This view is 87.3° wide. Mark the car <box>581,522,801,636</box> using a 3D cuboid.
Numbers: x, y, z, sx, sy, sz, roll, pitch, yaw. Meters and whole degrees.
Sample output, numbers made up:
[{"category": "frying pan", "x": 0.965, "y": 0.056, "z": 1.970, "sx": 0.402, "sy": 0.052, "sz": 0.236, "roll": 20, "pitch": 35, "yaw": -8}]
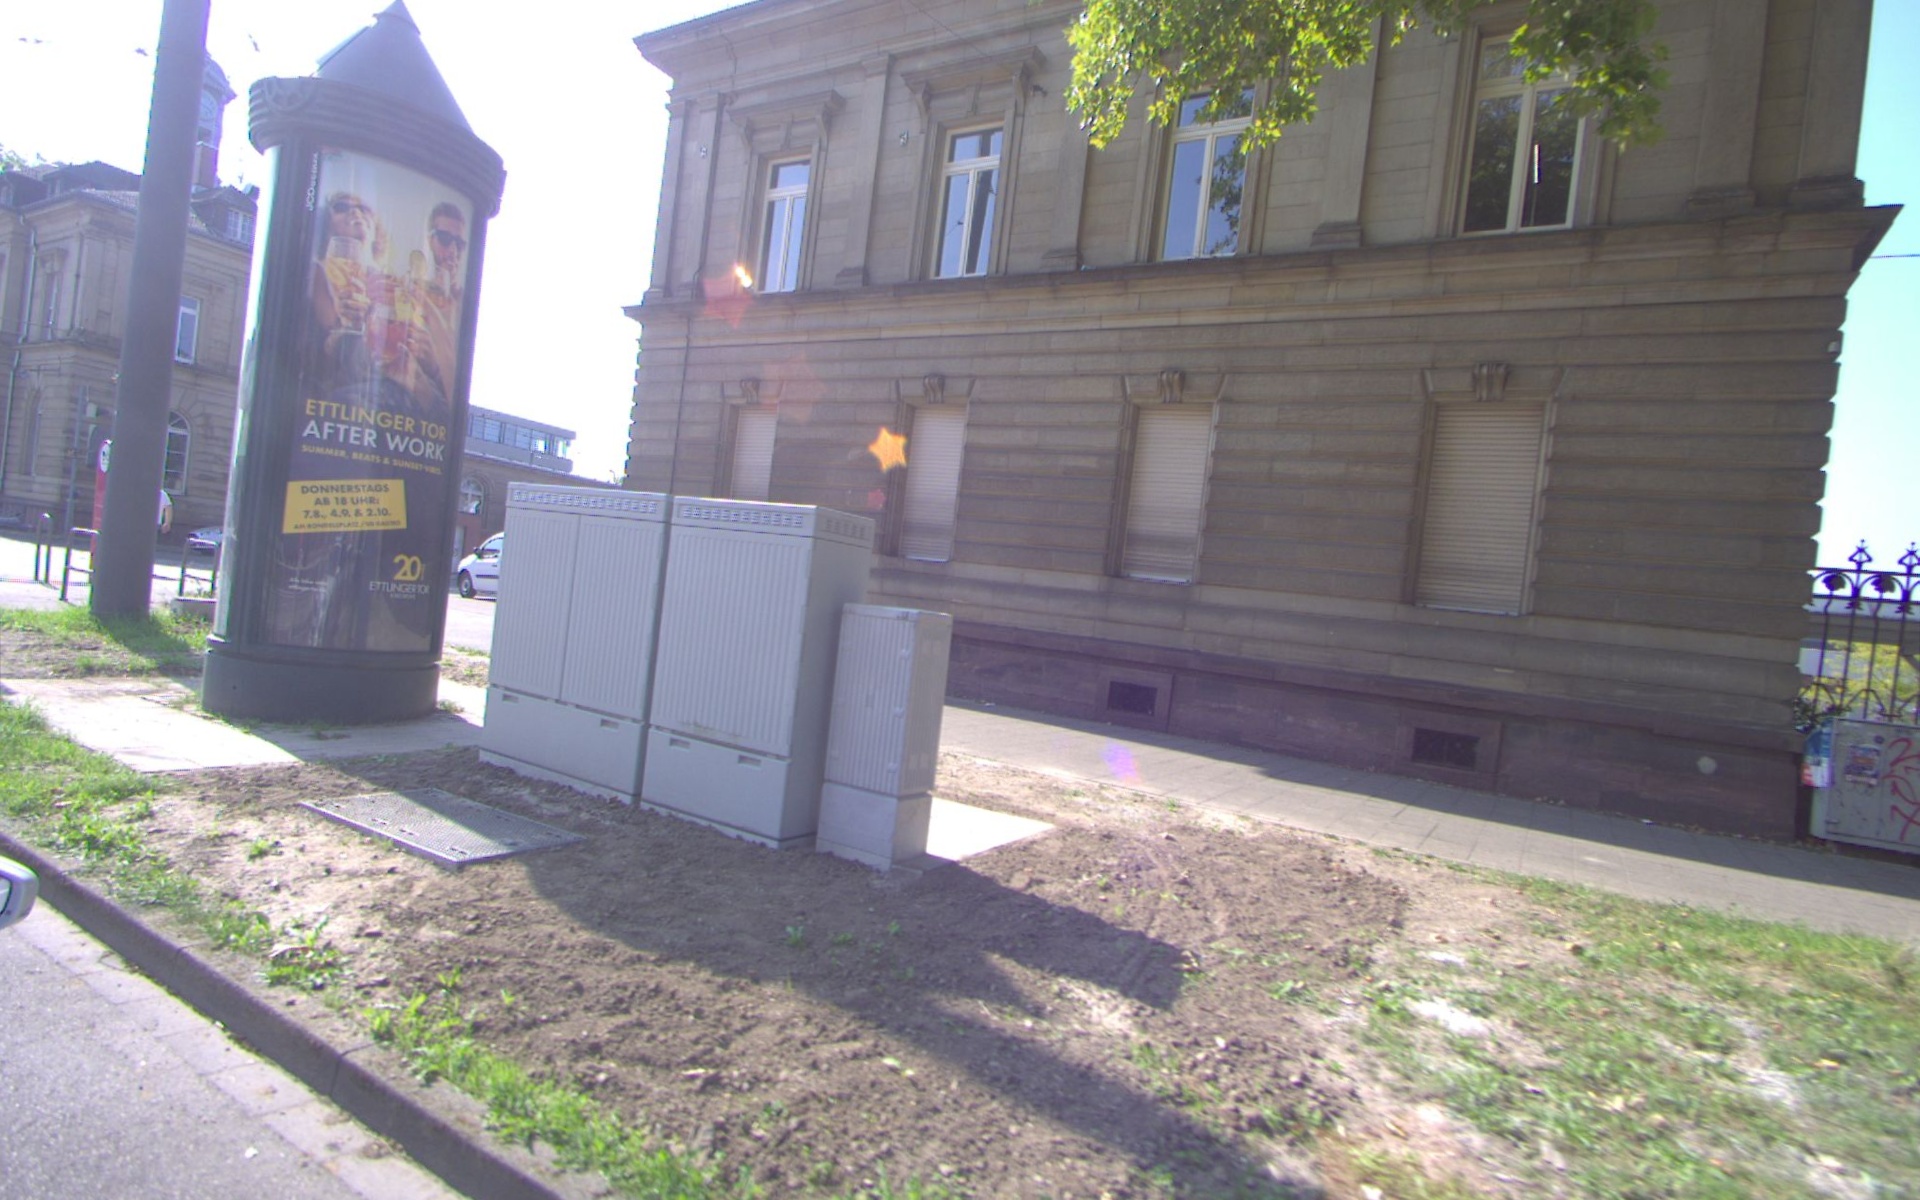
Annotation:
[{"category": "car", "x": -7.363, "y": -0.581, "z": 27.484, "sx": 5.390, "sy": 2.453, "sz": 2.263, "roll": 7, "pitch": 0, "yaw": 25}]

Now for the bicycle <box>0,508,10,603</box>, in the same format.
[{"category": "bicycle", "x": -11.129, "y": -0.556, "z": 11.093, "sx": 1.545, "sy": 1.019, "sz": 0.538, "roll": 7, "pitch": 2, "yaw": 32}]

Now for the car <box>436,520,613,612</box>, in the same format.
[{"category": "car", "x": -10.815, "y": -0.851, "z": 24.914, "sx": 4.155, "sy": 1.806, "sz": 1.905, "roll": 6, "pitch": 1, "yaw": 32}]

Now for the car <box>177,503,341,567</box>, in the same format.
[{"category": "car", "x": -22.637, "y": -2.083, "z": 32.610, "sx": 1.640, "sy": 1.556, "sz": 3.996, "roll": 7, "pitch": 1, "yaw": 37}]

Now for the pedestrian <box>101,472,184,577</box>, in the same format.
[{"category": "pedestrian", "x": -14.843, "y": -1.364, "z": 18.279, "sx": 0.660, "sy": 1.759, "sz": 0.867, "roll": 7, "pitch": 1, "yaw": 30}]
